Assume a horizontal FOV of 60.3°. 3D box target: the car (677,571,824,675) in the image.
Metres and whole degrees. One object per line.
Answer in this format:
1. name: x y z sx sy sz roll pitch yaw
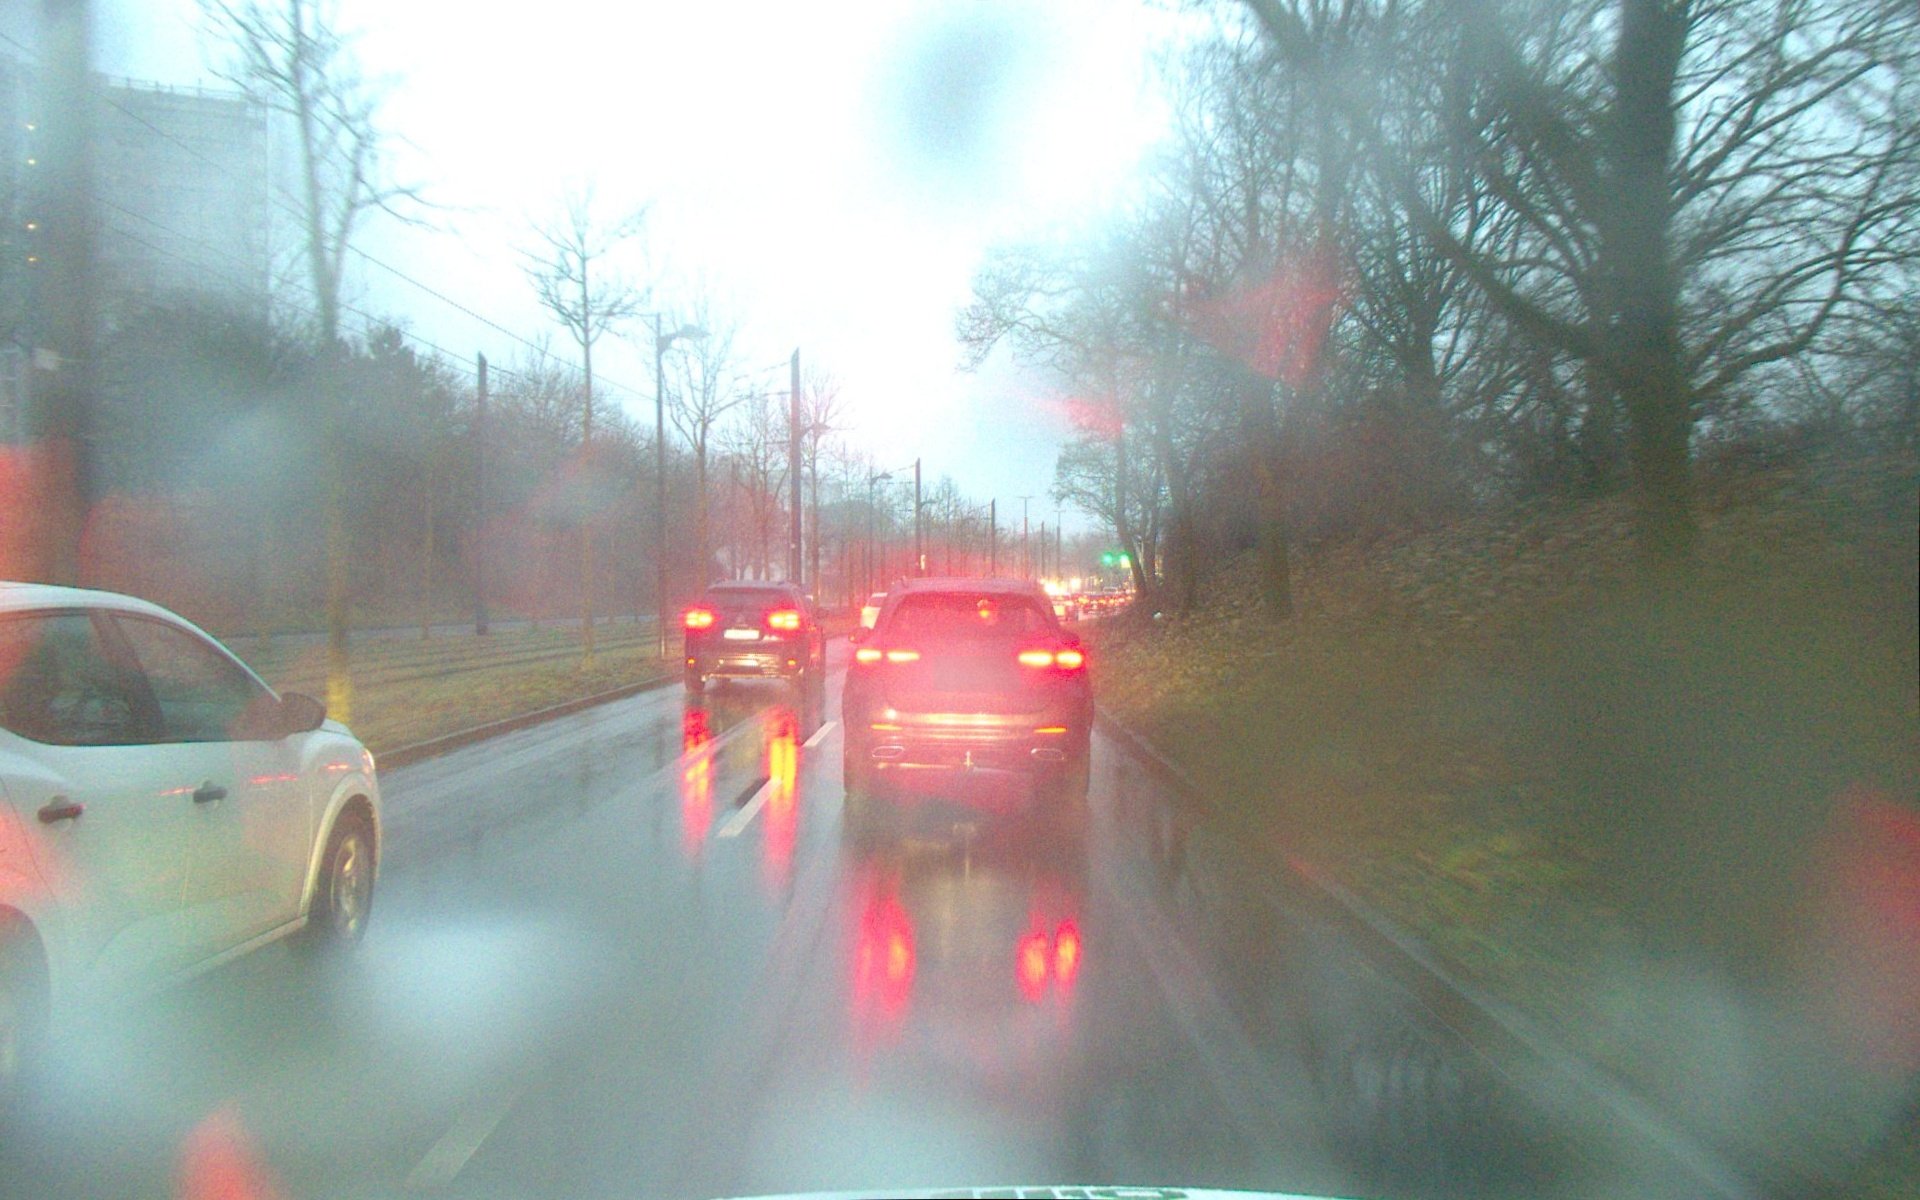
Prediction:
1. car: -3.199 0.305 25.944 1.842 1.484 3.999 0 1 -1

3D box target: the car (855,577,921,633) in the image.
1. car: -2.168 0.122 50.847 1.841 1.621 4.000 0 1 0

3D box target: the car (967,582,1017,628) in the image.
1. car: 1.167 0.147 59.079 1.673 1.585 3.997 0 0 2

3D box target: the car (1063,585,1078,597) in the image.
1. car: 16.585 -1.381 247.846 1.951 1.695 3.839 0 0 8

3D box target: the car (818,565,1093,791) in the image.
1. car: -0.074 0.537 13.848 1.958 1.612 3.999 0 1 -1

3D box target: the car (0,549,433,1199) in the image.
1. car: -3.128 0.650 5.178 1.674 1.551 4.134 0 0 -1
